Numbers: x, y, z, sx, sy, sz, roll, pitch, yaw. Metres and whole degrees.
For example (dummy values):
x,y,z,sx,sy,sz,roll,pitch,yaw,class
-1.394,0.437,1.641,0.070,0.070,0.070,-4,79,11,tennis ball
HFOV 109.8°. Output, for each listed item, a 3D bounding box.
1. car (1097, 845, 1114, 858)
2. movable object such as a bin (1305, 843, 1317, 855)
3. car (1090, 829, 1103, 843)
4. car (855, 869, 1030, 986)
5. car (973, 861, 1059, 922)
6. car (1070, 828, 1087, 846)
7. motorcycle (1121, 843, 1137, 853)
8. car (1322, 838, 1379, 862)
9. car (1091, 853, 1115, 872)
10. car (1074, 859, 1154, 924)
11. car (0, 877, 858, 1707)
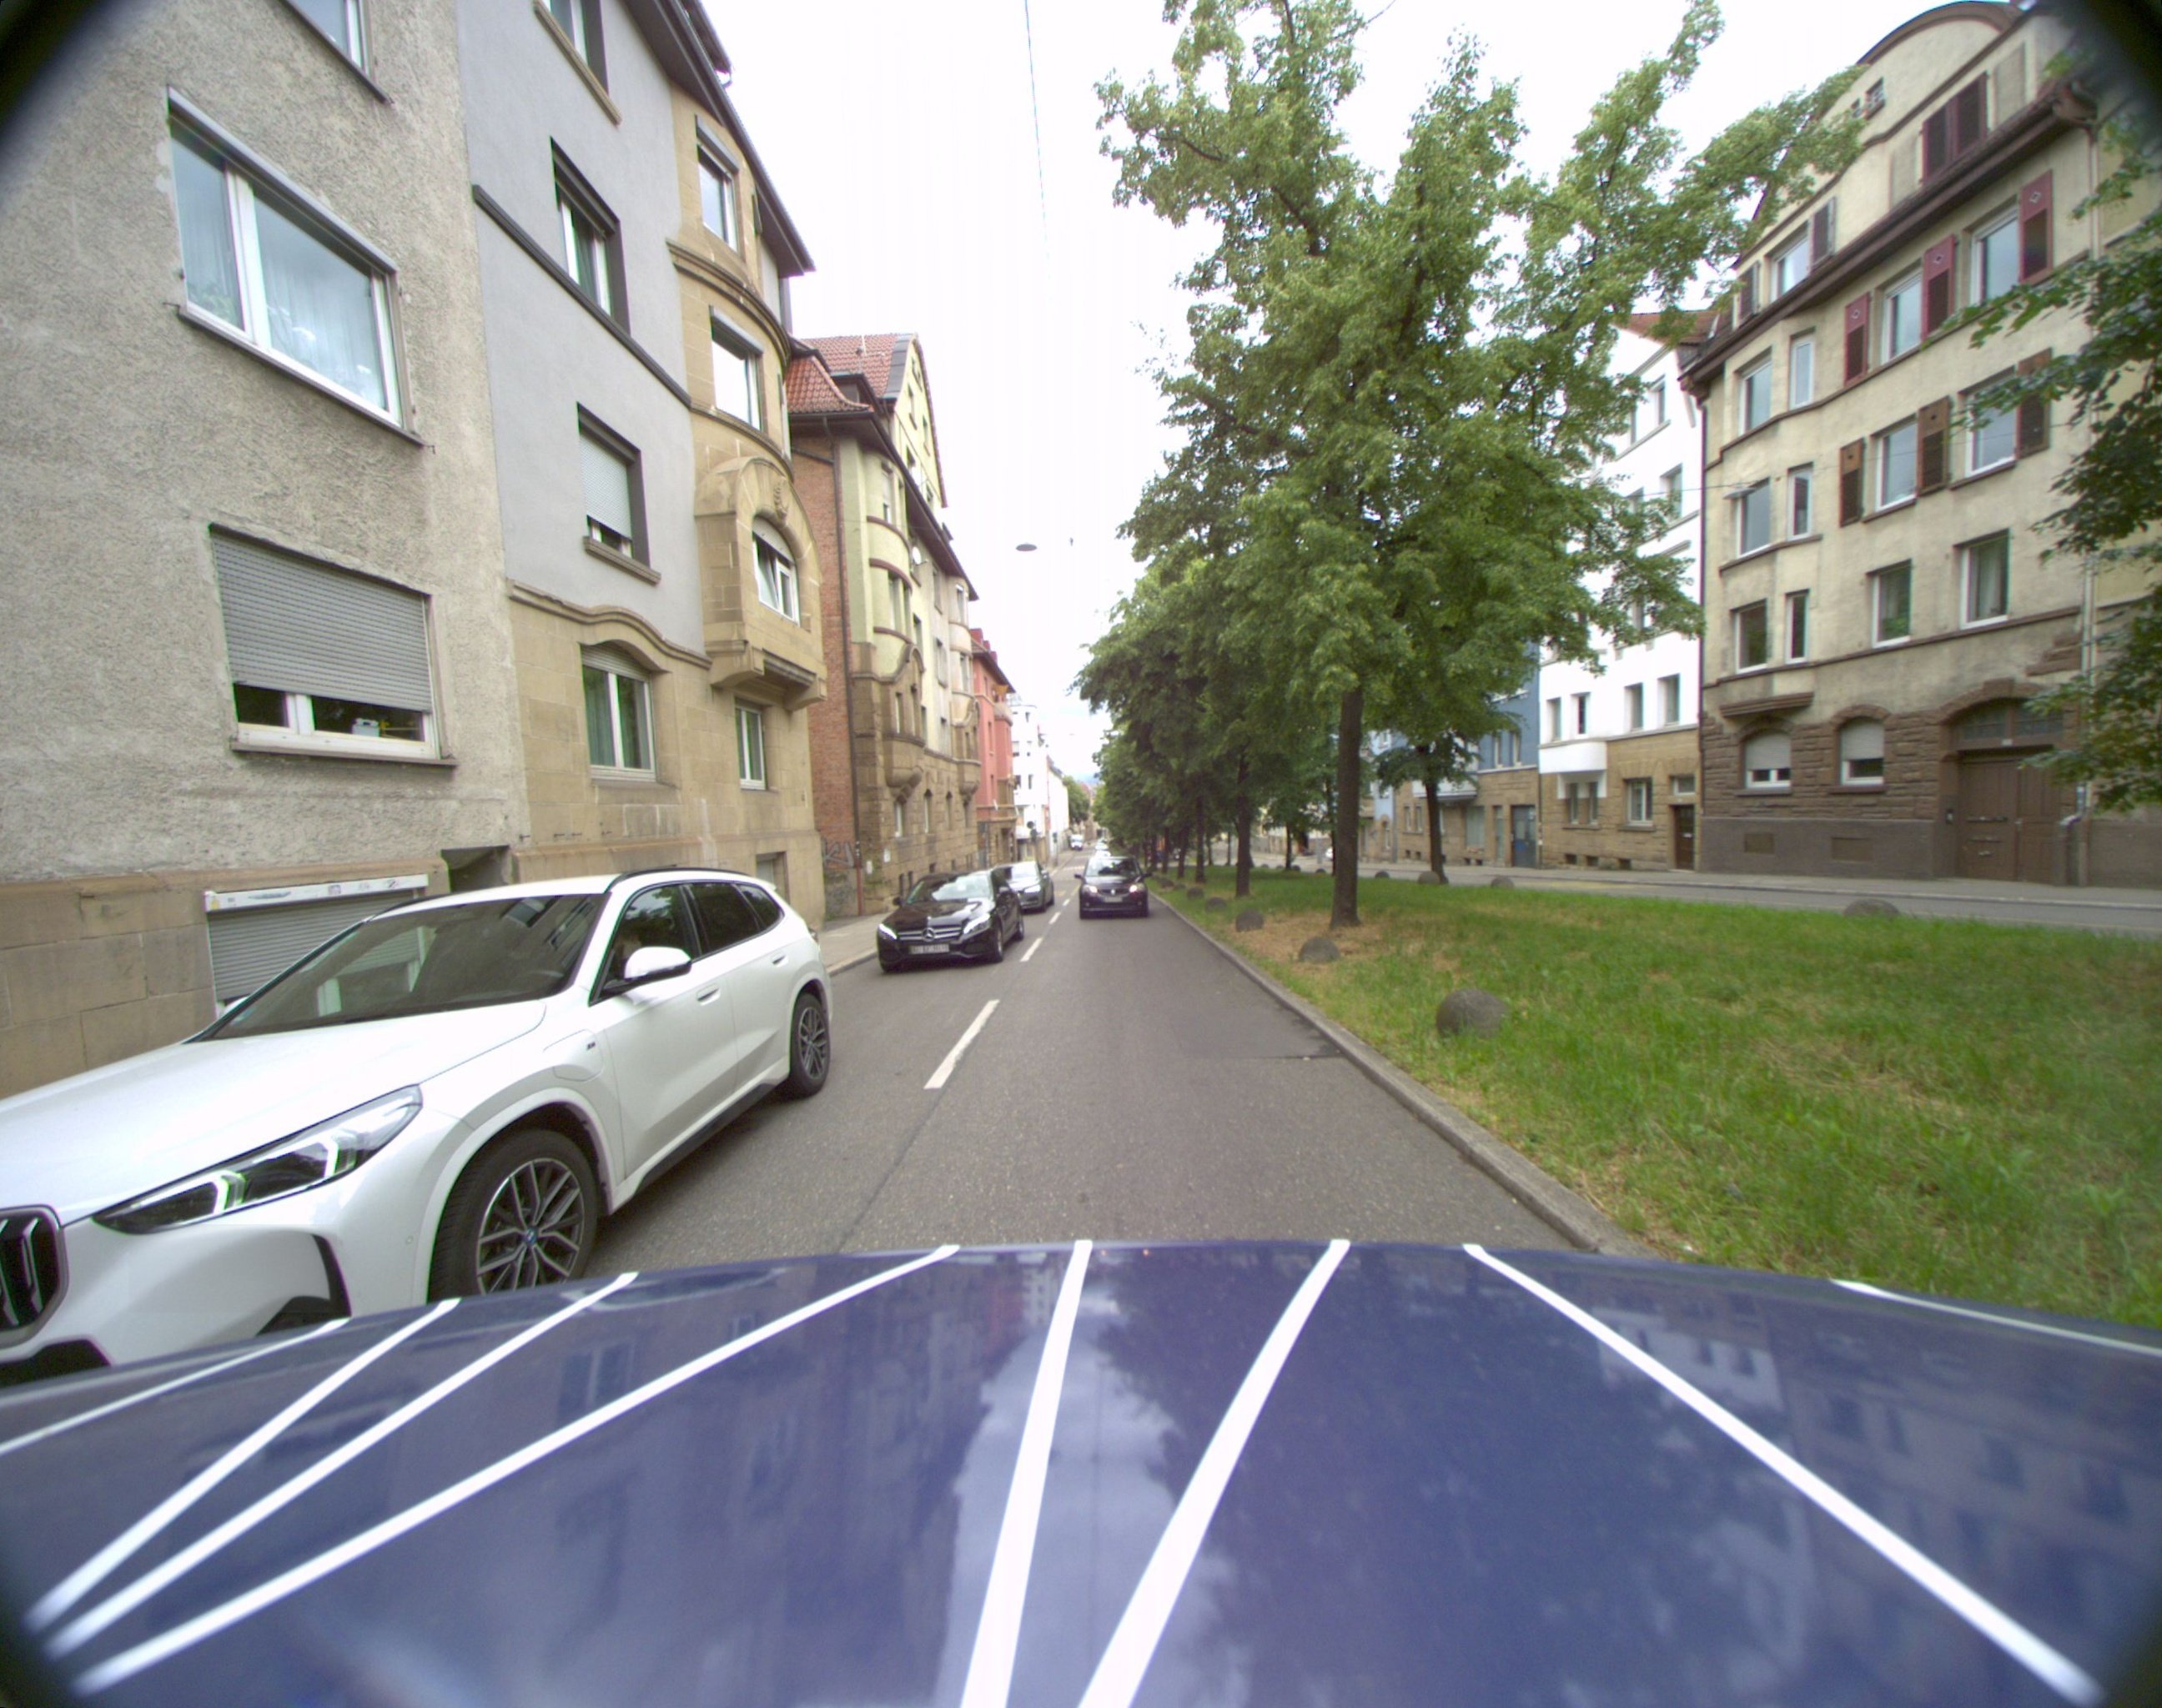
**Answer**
x,y,z,sx,sy,sz,roll,pitch,yaw,class
2.781,-0.323,86.175,1.783,1.420,4.281,-1,0,2,car
21.401,-0.447,70.643,0.887,0.988,0.668,-5,2,0,movable object such as a bin
3.613,-4.286,178.581,3.025,3.045,7.166,-2,3,1,car
-2.071,1.063,12.690,1.854,1.360,4.281,-6,0,2,car
-1.765,1.007,22.044,1.854,1.360,4.281,-6,0,2,car
-0.389,-3.086,138.731,3.025,3.045,7.166,-2,3,1,car
6.228,-0.758,98.609,2.040,1.126,0.454,-3,4,2,motorcycle
22.450,-0.384,63.359,4.007,1.462,1.870,-7,3,-1,car
1.785,0.623,60.148,1.783,1.420,4.281,-1,0,2,car
0.824,0.865,19.355,1.783,1.420,4.281,-1,0,2,car
-2.774,1.073,3.669,1.854,1.595,4.563,-6,0,0,car
